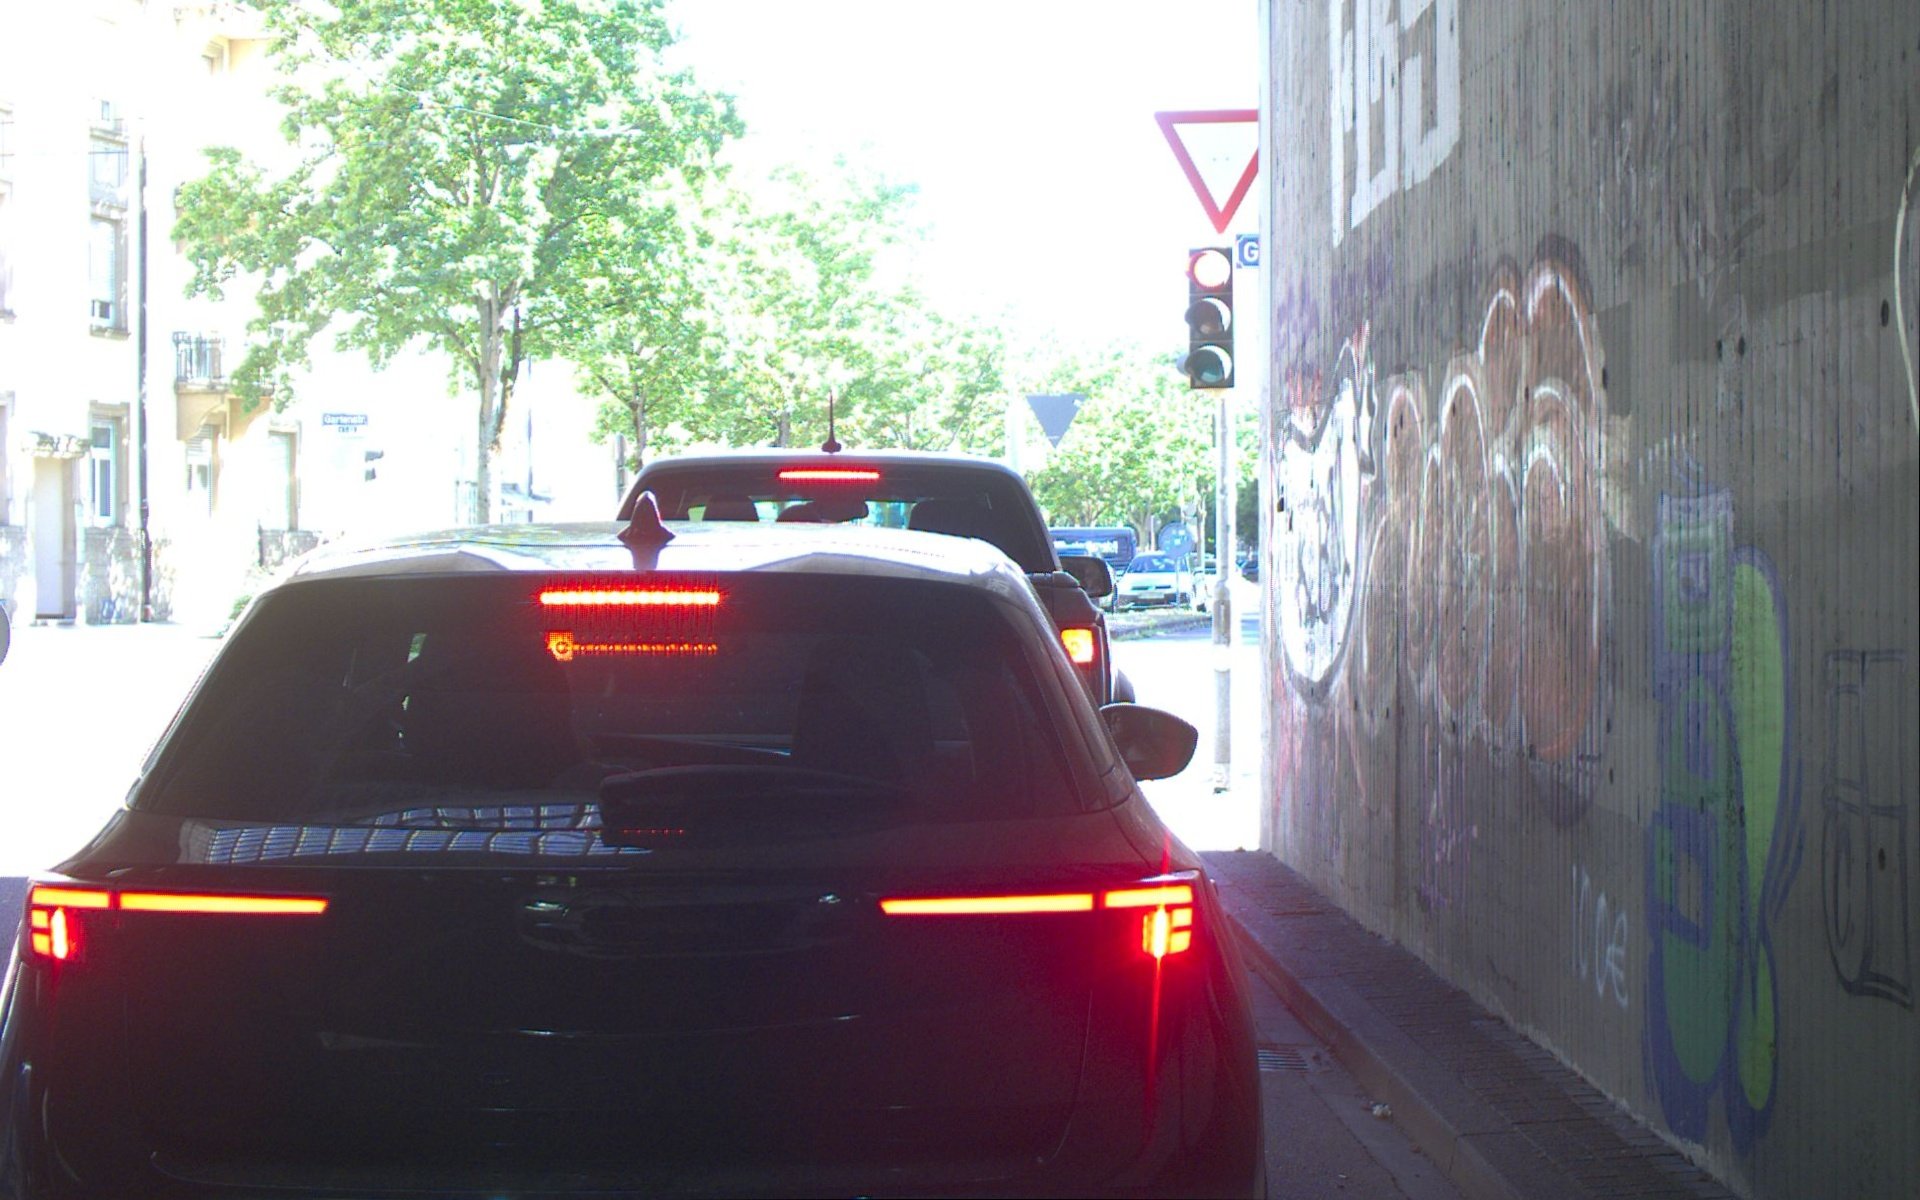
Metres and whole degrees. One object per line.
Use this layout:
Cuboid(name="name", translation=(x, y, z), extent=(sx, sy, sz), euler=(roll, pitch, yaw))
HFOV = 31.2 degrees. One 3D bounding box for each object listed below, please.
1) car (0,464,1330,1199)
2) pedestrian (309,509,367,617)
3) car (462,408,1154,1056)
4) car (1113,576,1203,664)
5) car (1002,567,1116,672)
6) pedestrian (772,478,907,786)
Cuboid(name="car", translation=(-0.475, 0.558, 6.105), extent=(1.764, 1.566, 4.001), euler=(1, 2, -1))
Cuboid(name="pedestrian", translation=(-12.185, -0.726, 67.359), extent=(0.892, 2.080, 0.808), euler=(1, 0, 7))
Cuboid(name="car", translation=(-0.460, 0.345, 11.980), extent=(1.993, 1.865, 4.000), euler=(0, 1, -1))
Cuboid(name="car", translation=(4.656, 0.449, 80.378), extent=(1.994, 1.963, 4.163), euler=(1, 1, 5))
Cuboid(name="car", translation=(1.975, 0.353, 67.153), extent=(1.994, 1.963, 4.163), euler=(1, 1, 5))
Cuboid(name="pedestrian", translation=(-0.685, 0.177, 19.801), extent=(0.731, 1.728, 0.874), euler=(1, 0, -1))
